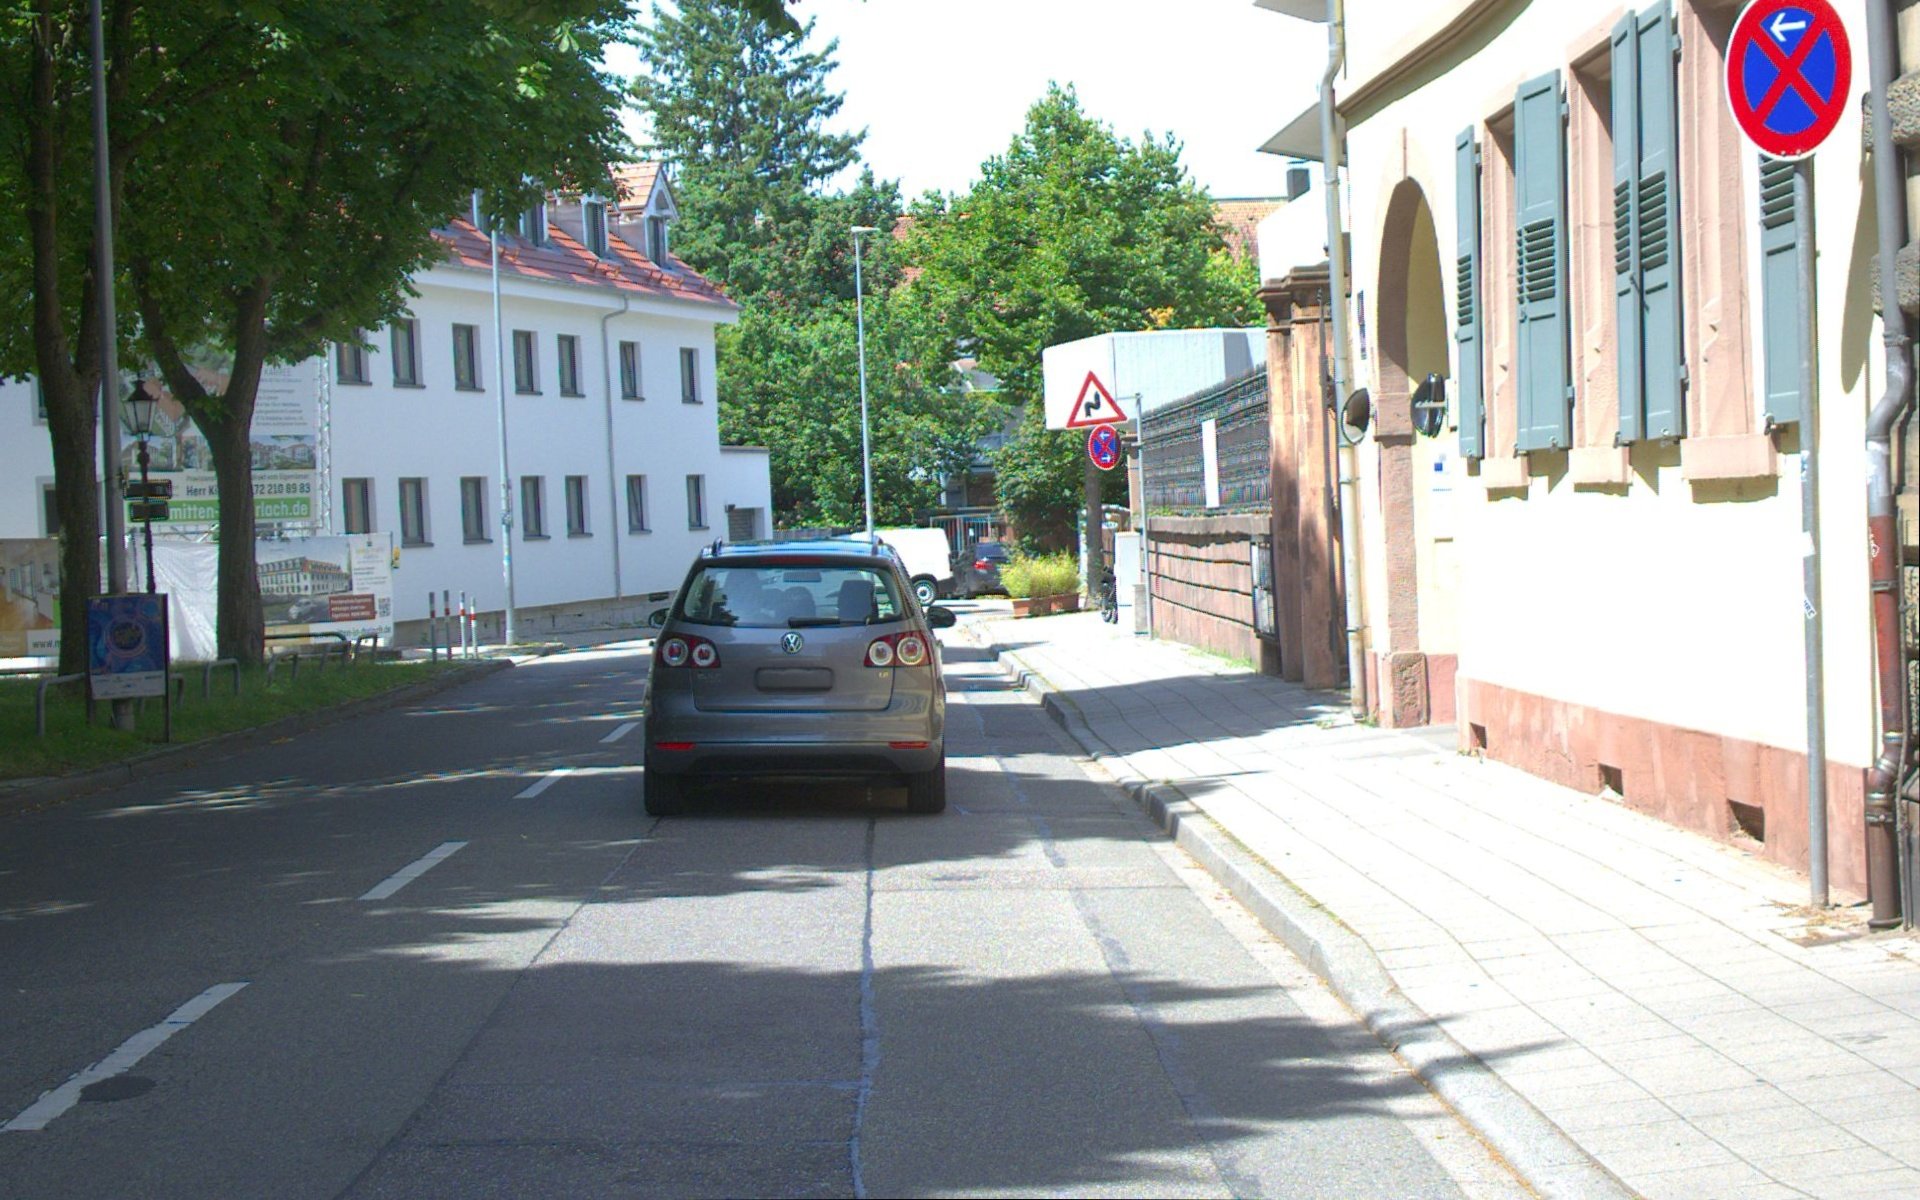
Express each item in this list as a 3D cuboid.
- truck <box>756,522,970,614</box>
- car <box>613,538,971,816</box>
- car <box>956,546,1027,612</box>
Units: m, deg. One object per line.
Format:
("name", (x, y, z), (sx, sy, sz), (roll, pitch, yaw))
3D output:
("truck", (-2.311, -0.770, 81.394), (4.792, 2.007, 2.146), (-2, 1, -8))
("car", (-0.917, 0.405, 21.046), (1.903, 1.528, 4.243), (0, 0, 1))
("car", (0.770, -0.536, 86.042), (1.647, 1.568, 3.639), (-1, 1, -1))
